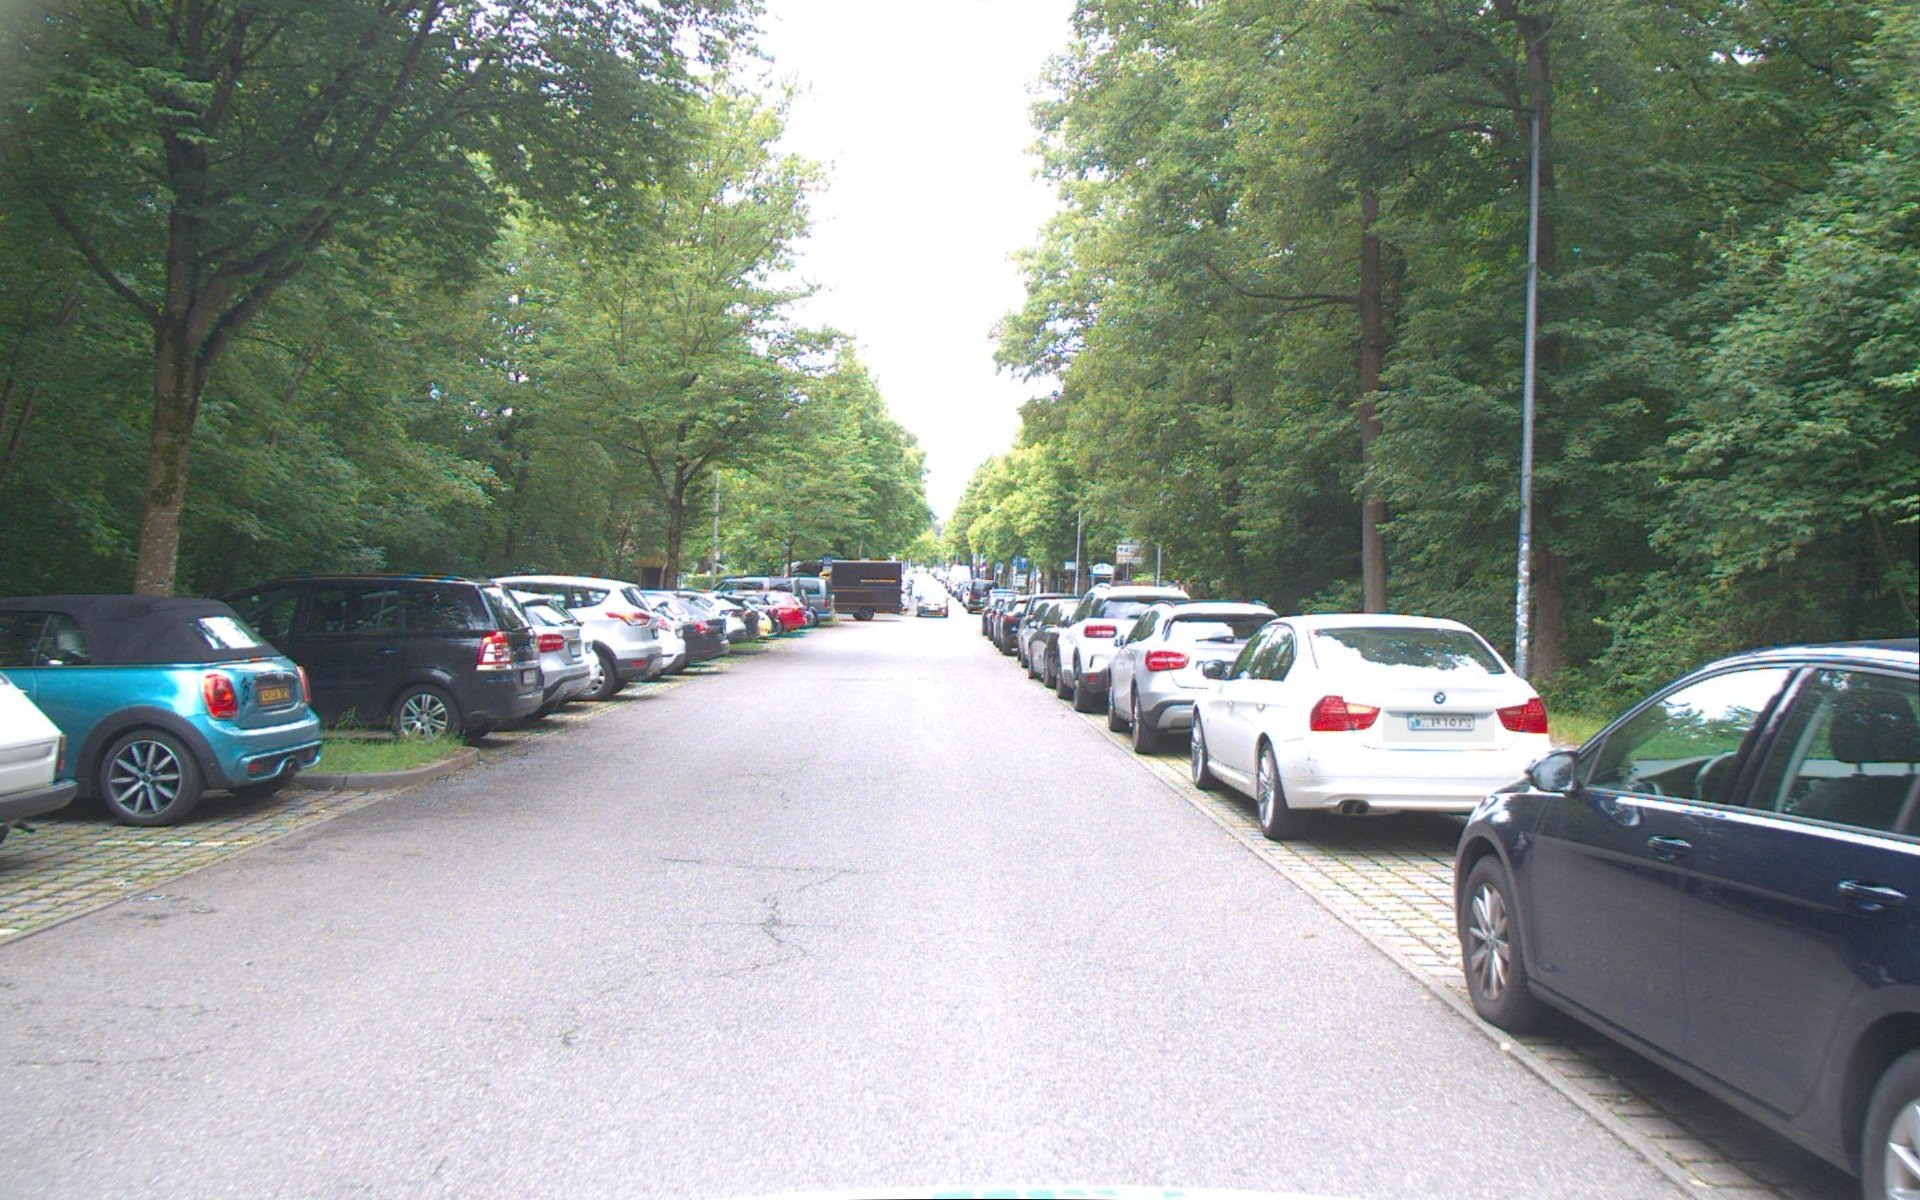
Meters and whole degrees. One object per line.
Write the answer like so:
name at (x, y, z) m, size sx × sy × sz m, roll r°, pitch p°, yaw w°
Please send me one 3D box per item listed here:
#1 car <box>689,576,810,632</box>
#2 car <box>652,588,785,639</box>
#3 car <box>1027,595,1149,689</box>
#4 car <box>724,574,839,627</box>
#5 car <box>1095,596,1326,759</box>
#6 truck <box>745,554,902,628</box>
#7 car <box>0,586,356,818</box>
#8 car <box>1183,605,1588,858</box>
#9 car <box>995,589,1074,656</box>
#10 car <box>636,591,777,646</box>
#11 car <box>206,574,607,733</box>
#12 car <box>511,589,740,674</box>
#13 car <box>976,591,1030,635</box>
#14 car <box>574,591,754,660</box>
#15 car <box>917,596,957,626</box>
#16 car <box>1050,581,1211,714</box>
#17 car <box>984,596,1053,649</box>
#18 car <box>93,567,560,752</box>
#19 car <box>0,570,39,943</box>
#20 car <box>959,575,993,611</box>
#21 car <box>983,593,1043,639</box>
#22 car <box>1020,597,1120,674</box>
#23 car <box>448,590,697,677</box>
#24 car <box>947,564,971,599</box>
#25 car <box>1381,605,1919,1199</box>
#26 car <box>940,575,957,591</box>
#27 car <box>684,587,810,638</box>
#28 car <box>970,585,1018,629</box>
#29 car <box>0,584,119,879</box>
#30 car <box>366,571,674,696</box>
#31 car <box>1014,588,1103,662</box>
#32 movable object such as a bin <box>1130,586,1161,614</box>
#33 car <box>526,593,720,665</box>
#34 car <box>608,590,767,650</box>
car at (-7.140, 0.133, 56.395) m, size 3.906 × 1.895 × 1.813 m, roll 0°, pitch 0°, yaw -2°
car at (-7.458, 0.409, 51.347) m, size 3.908 × 1.463 × 1.670 m, roll 2°, pitch 0°, yaw -4°
car at (2.182, 0.678, 29.239) m, size 1.701 × 1.500 × 4.604 m, roll 1°, pitch 0°, yaw -1°
car at (-7.122, 0.028, 66.181) m, size 4.412 × 2.013 × 1.890 m, roll 1°, pitch -1°, yaw -3°
car at (2.570, 0.730, 18.026) m, size 1.701 × 1.505 × 4.768 m, roll 1°, pitch 0°, yaw -1°
truck at (-6.570, -0.401, 79.266) m, size 7.119 × 3.292 × 3.431 m, roll 1°, pitch -1°, yaw -12°
car at (-6.438, 0.652, 11.418) m, size 3.904 × 1.473 × 1.696 m, roll 0°, pitch 0°, yaw 1°
car at (2.805, 0.781, 11.937) m, size 1.701 × 1.431 × 4.427 m, roll 1°, pitch 0°, yaw -1°
car at (1.899, 0.553, 43.171) m, size 1.701 × 1.617 × 4.380 m, roll 1°, pitch 0°, yaw -2°
car at (-7.458, 0.534, 48.959) m, size 3.906 × 1.463 × 1.617 m, roll 2°, pitch 0°, yaw -1°
car at (-6.119, 0.571, 18.628) m, size 3.906 × 1.691 × 1.814 m, roll 0°, pitch 0°, yaw -1°
car at (-6.212, 0.570, 30.984) m, size 3.905 × 1.460 × 1.677 m, roll 1°, pitch 0°, yaw 0°
car at (1.542, 0.459, 60.749) m, size 1.701 × 1.521 × 4.232 m, roll 1°, pitch 0°, yaw -2°
car at (-6.929, 0.575, 38.990) m, size 3.906 × 1.493 × 1.714 m, roll 1°, pitch 0°, yaw -2°
car at (-1.207, 0.574, 87.271) m, size 1.833 × 1.512 × 4.001 m, roll 1°, pitch -1°, yaw 3°
car at (2.335, 0.610, 23.832) m, size 1.701 × 1.672 × 5.071 m, roll 1°, pitch 0°, yaw -1°
car at (1.656, 0.629, 48.449) m, size 1.701 × 1.457 × 4.500 m, roll 1°, pitch 0°, yaw -2°
car at (-6.057, 0.545, 16.162) m, size 3.907 × 1.691 × 1.695 m, roll 0°, pitch 0°, yaw -3°
car at (-5.919, 0.639, 6.201) m, size 3.906 × 1.542 × 1.771 m, roll 0°, pitch 0°, yaw -1°
car at (0.919, -0.436, 97.770) m, size 1.947 × 2.049 × 4.108 m, roll 1°, pitch 0°, yaw 0°
car at (1.733, 0.516, 55.316) m, size 1.701 × 1.457 × 4.500 m, roll 1°, pitch 0°, yaw -2°
car at (2.198, 0.689, 34.006) m, size 1.701 × 1.450 × 4.153 m, roll 1°, pitch 0°, yaw -1°
car at (-6.644, 0.563, 28.609) m, size 3.905 × 1.460 × 1.648 m, roll 0°, pitch 0°, yaw 0°
car at (-0.057, -1.676, 151.618) m, size 2.139 × 3.068 × 4.897 m, roll 1°, pitch 0°, yaw 0°
car at (2.820, 0.776, 4.904) m, size 1.701 × 1.460 × 4.742 m, roll 1°, pitch 0°, yaw -3°
car at (-1.525, -2.222, 215.970) m, size 1.952 × 2.049 × 4.001 m, roll 1°, pitch -1°, yaw 2°
car at (-6.876, 0.383, 53.673) m, size 3.908 × 1.502 × 1.778 m, roll 2°, pitch 0°, yaw -3°
car at (1.344, 0.264, 66.498) m, size 1.701 × 1.662 × 4.374 m, roll 1°, pitch 0°, yaw -2°
car at (-6.749, 0.646, 8.511) m, size 3.906 × 1.473 × 1.771 m, roll 0°, pitch 0°, yaw -1°
car at (-6.154, 0.460, 23.470) m, size 3.907 × 1.691 × 1.813 m, roll 0°, pitch 0°, yaw -3°
car at (2.244, 0.553, 38.540) m, size 1.701 × 1.595 × 4.007 m, roll 1°, pitch 0°, yaw -2°
movable object such as a bin at (9.934, 0.004, 88.575) m, size 1.061 × 1.468 × 1.276 m, roll 0°, pitch -1°, yaw 45°
car at (-7.412, 0.619, 36.621) m, size 3.905 × 1.460 × 1.702 m, roll 1°, pitch 0°, yaw 0°
car at (-7.201, 0.515, 43.915) m, size 3.906 × 1.463 × 1.714 m, roll 2°, pitch 0°, yaw -1°
